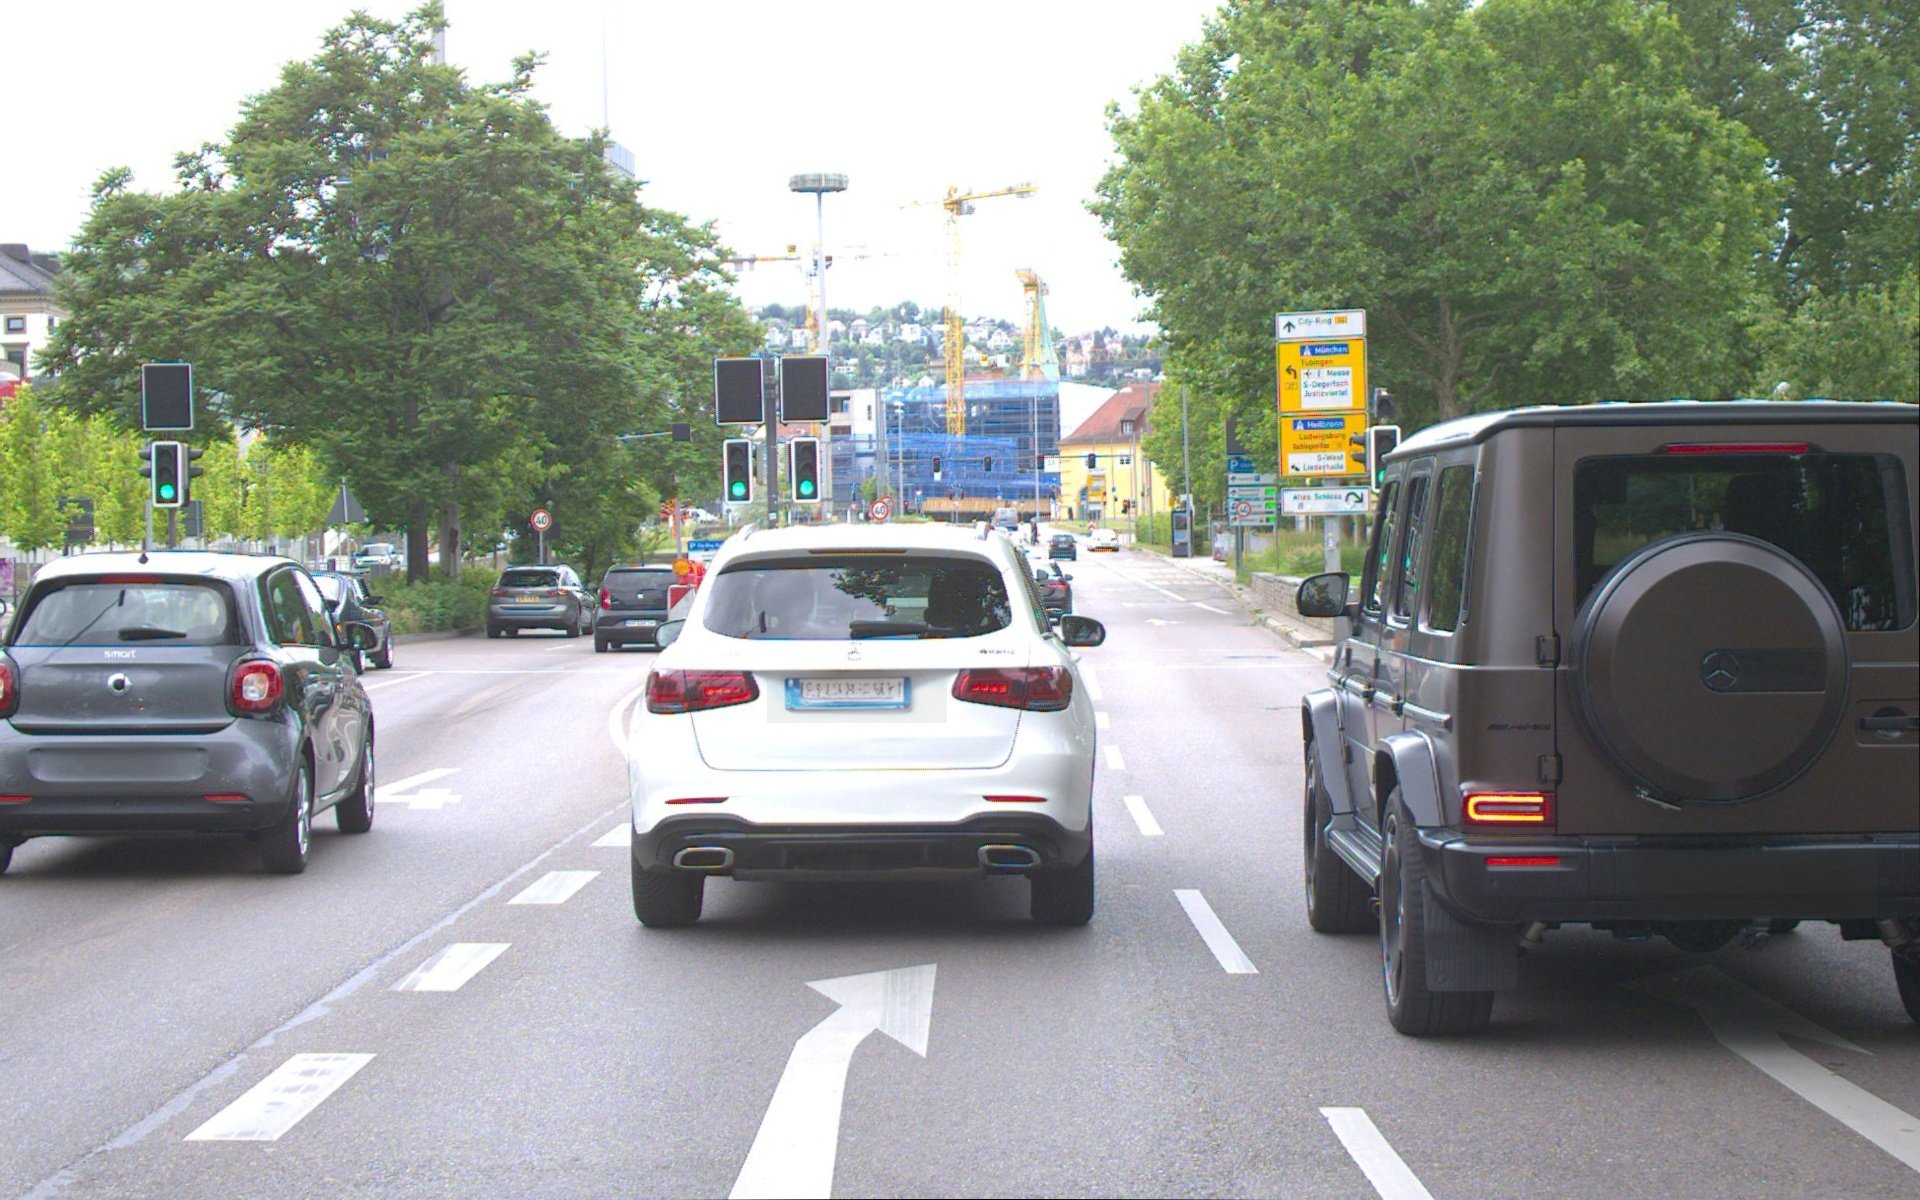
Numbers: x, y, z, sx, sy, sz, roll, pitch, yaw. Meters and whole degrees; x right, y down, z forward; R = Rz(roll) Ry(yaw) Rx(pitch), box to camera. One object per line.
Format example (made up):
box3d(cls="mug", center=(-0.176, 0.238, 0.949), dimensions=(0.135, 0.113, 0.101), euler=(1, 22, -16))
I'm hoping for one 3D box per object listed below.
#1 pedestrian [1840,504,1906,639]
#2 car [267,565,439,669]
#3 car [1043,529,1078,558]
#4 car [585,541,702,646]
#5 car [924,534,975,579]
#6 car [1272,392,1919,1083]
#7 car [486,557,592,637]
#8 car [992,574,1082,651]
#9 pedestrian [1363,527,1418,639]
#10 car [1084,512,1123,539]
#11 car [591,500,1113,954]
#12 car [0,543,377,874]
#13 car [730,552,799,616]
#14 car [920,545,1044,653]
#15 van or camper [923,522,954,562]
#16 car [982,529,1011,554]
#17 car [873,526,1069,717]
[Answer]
box3d(cls="pedestrian", center=(10.728, -0.341, 40.385), dimensions=(0.683, 1.556, 0.907), euler=(-1, 1, 17))
box3d(cls="car", center=(-8.119, 0.202, 46.279), dimensions=(1.719, 1.288, 4.000), euler=(1, 1, -2))
box3d(cls="car", center=(5.752, -3.218, 196.878), dimensions=(1.719, 1.579, 4.000), euler=(1, 1, -2))
box3d(cls="car", center=(-5.319, -0.132, 58.211), dimensions=(1.719, 1.673, 4.000), euler=(1, 1, -2))
box3d(cls="car", center=(-0.409, -1.765, 140.991), dimensions=(1.993, 1.751, 4.000), euler=(1, 0, 1))
box3d(cls="car", center=(2.266, 0.384, 11.888), dimensions=(1.977, 1.887, 4.707), euler=(1, 0, 1))
box3d(cls="car", center=(-8.547, -0.086, 70.028), dimensions=(1.753, 1.548, 4.000), euler=(1, 1, -2))
box3d(cls="car", center=(1.676, 0.250, 75.701), dimensions=(1.719, 1.579, 4.000), euler=(1, 1, -2))
box3d(cls="pedestrian", center=(6.417, -0.252, 51.233), dimensions=(0.697, 1.650, 0.684), euler=(1, 0, -1))
box3d(cls="car", center=(9.187, -4.782, 220.346), dimensions=(1.993, 1.612, 4.001), euler=(1, 0, -5))
box3d(cls="car", center=(-0.445, 0.479, 14.988), dimensions=(1.940, 1.678, 4.000), euler=(1, 0, -1))
box3d(cls="car", center=(-4.007, 0.493, 17.450), dimensions=(1.627, 1.504, 3.540), euler=(0, 0, -2))
box3d(cls="car", center=(-5.081, -0.422, 88.982), dimensions=(1.719, 1.579, 4.001), euler=(1, 1, -4))
box3d(cls="car", center=(0.309, -0.046, 53.242), dimensions=(1.719, 1.579, 4.000), euler=(1, 1, -2))
box3d(cls="van or camper", center=(-1.346, -3.566, 212.549), dimensions=(1.922, 2.312, 4.000), euler=(0, -1, -1))
box3d(cls="car", center=(2.380, -3.817, 224.394), dimensions=(1.719, 1.579, 4.000), euler=(1, 1, -2))
box3d(cls="car", center=(0.106, 0.197, 31.667), dimensions=(1.672, 1.622, 4.000), euler=(1, 0, 0))
